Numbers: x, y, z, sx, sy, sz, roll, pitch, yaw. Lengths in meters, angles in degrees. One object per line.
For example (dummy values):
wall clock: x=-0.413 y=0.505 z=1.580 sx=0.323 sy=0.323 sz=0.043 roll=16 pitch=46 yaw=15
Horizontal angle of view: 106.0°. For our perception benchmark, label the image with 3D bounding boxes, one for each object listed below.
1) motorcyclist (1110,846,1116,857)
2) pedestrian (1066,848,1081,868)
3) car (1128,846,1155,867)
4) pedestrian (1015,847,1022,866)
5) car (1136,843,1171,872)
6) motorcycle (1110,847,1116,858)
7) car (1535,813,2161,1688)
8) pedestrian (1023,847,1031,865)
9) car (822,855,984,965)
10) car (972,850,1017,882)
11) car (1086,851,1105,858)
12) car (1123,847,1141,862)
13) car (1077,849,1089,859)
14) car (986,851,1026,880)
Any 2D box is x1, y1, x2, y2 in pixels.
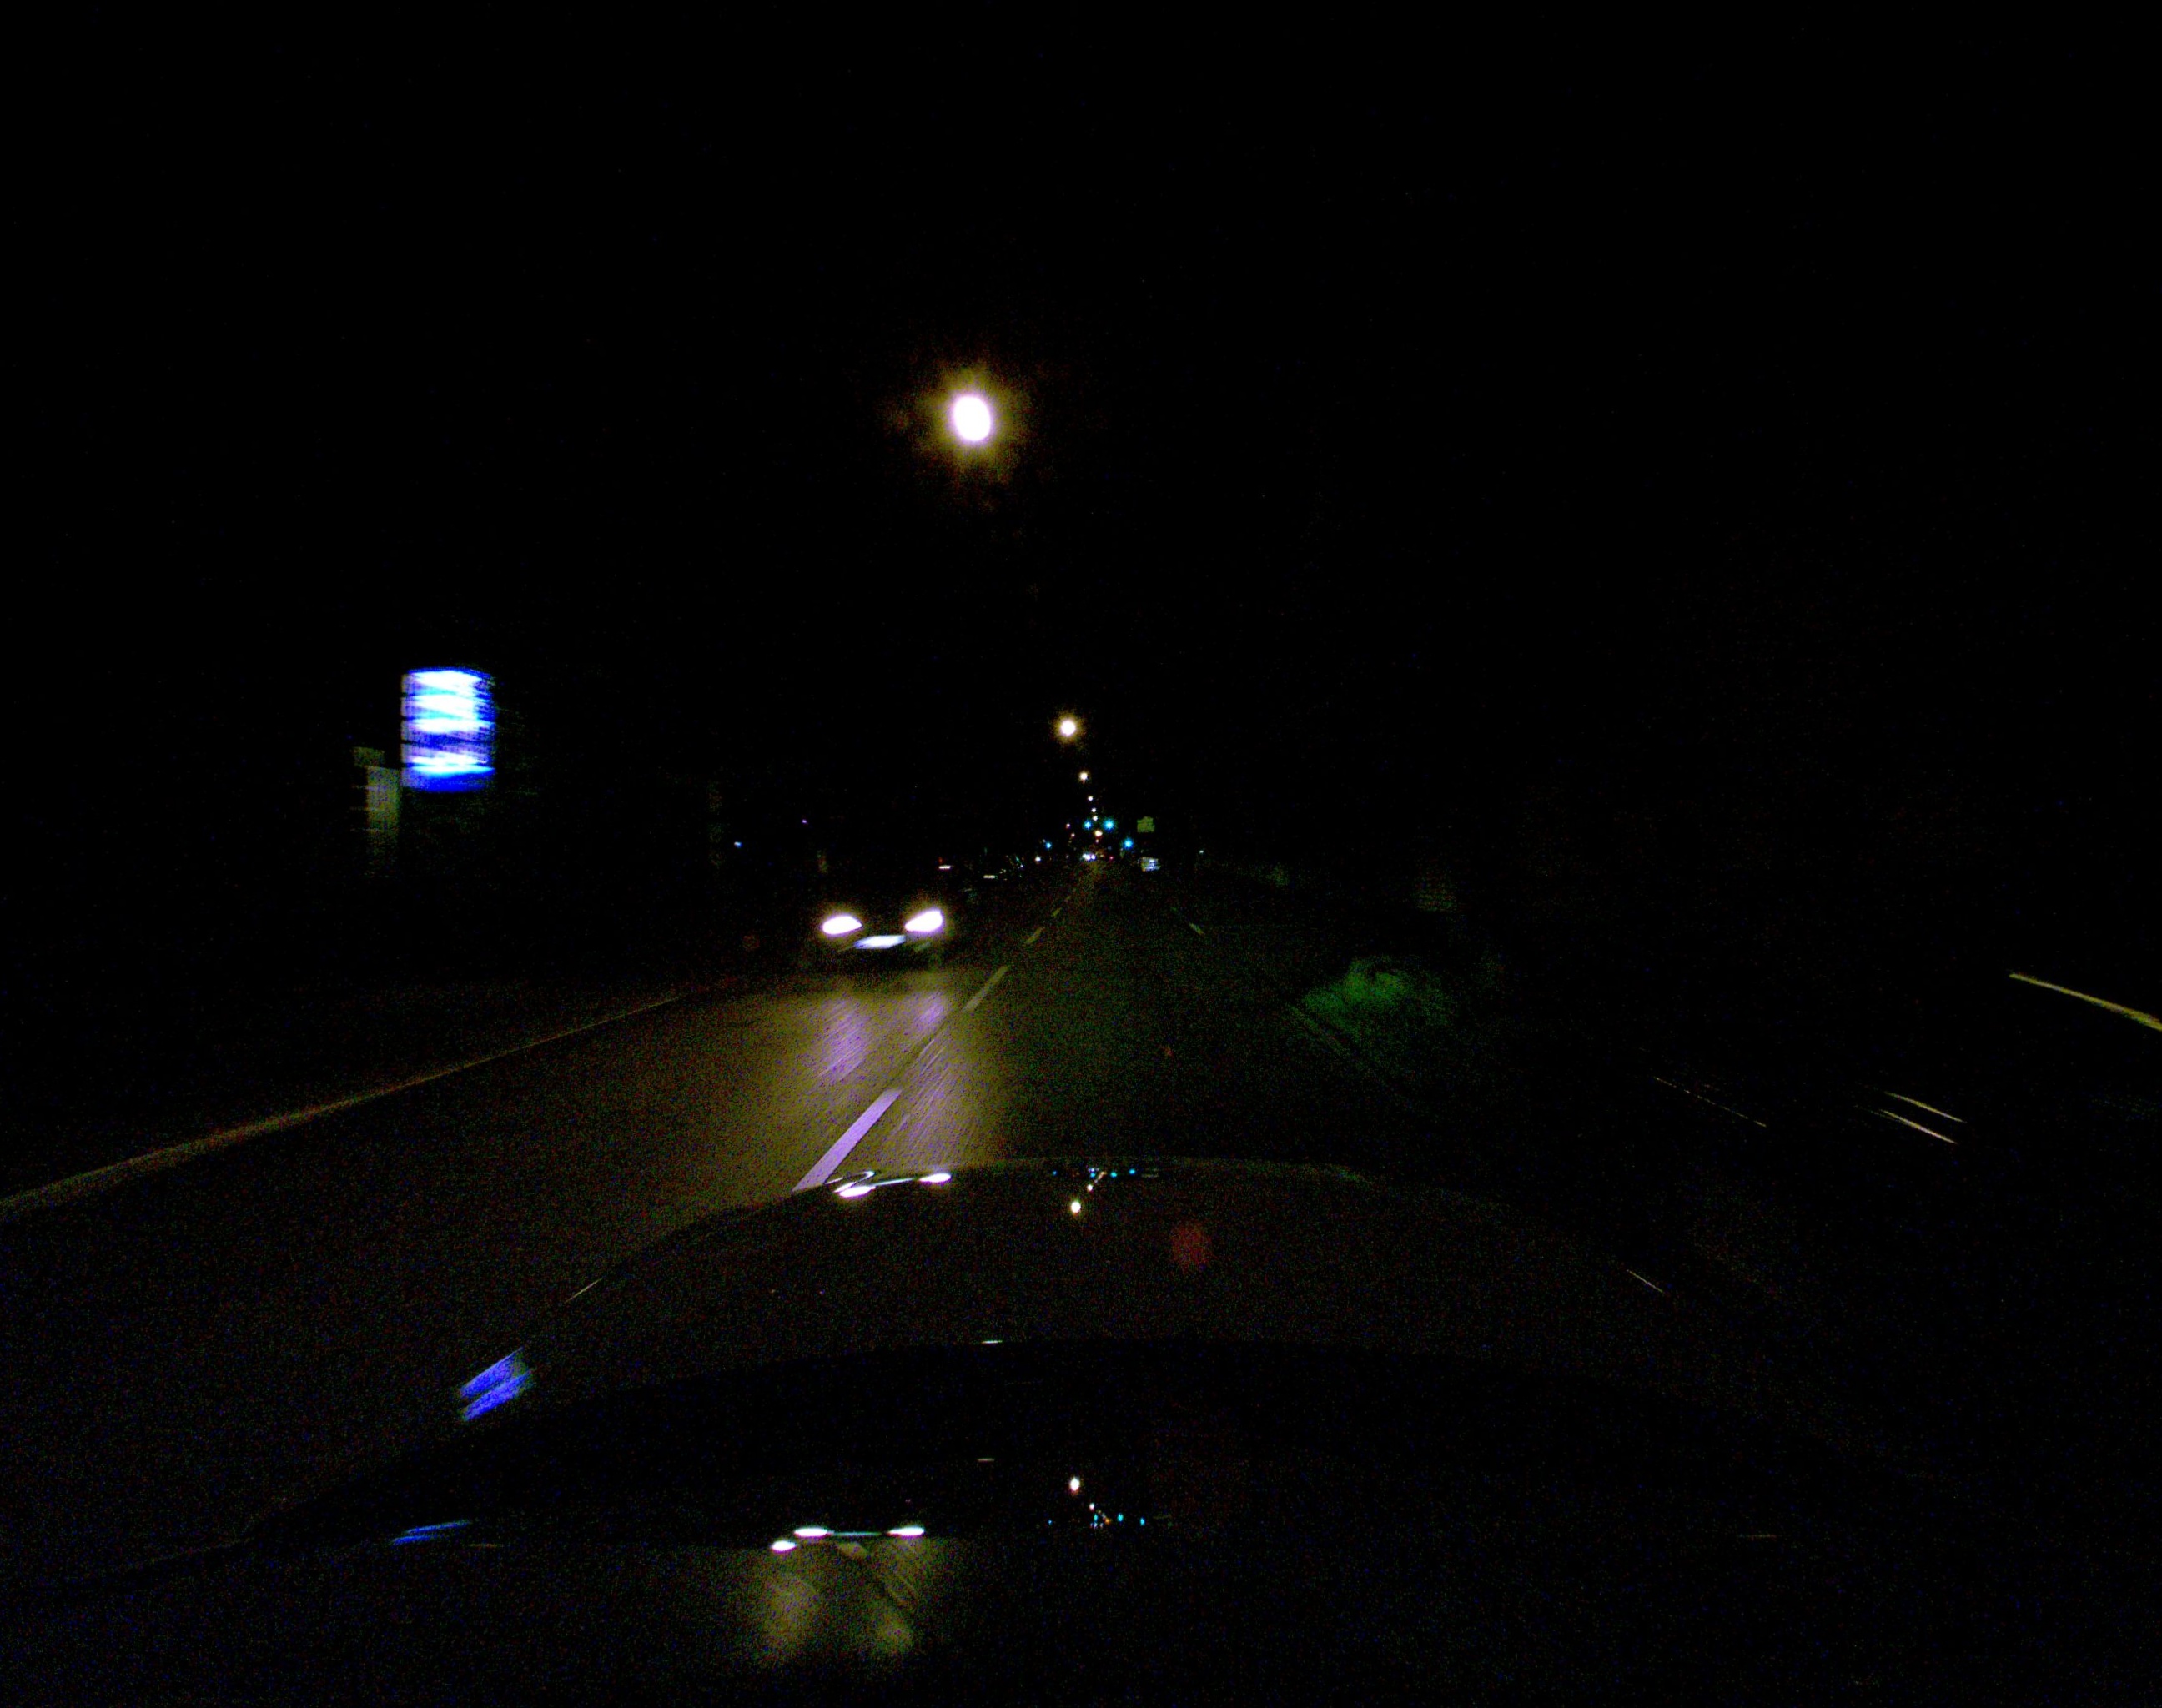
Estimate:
motorcyclist: x=4.827 y=-0.375 z=124.063 sx=0.845 sy=1.752 sz=0.806 roll=0 pitch=-1 yaw=1
pedestrian: x=-0.653 y=0.367 z=70.324 sx=0.757 sy=1.699 sz=0.932 roll=2 pitch=0 yaw=39
car: x=4.636 y=0.161 z=63.157 sx=1.862 sy=1.526 sz=4.151 roll=-3 pitch=0 yaw=2
pedestrian: x=-5.868 y=0.243 z=76.432 sx=0.569 sy=1.700 sz=0.927 roll=0 pitch=-1 yaw=-8
car: x=4.385 y=0.178 z=49.807 sx=1.805 sy=1.594 sz=4.275 roll=-3 pitch=0 yaw=2
motorcycle: x=4.831 y=-0.210 z=124.079 sx=0.927 sy=1.752 sz=2.626 roll=0 pitch=-1 yaw=2
car: x=2.698 y=0.656 z=1.281 sx=1.756 sy=1.476 sz=4.082 roll=-3 pitch=0 yaw=2
pedestrian: x=-5.034 y=0.193 z=76.498 sx=0.717 sy=1.765 sz=0.602 roll=0 pitch=-1 yaw=-7
car: x=-2.671 y=0.770 z=13.094 sx=1.640 sy=1.422 sz=3.871 roll=-2 pitch=0 yaw=1
car: x=-4.158 y=0.549 z=39.773 sx=1.715 sy=1.437 sz=4.191 roll=0 pitch=0 yaw=1
car: x=2.928 y=0.137 z=165.980 sx=1.699 sy=1.457 sz=3.946 roll=-1 pitch=-1 yaw=41
car: x=5.179 y=0.063 z=82.500 sx=1.624 sy=1.496 sz=3.414 roll=0 pitch=0 yaw=0
car: x=0.328 y=0.052 z=141.297 sx=1.937 sy=1.717 sz=4.001 roll=0 pitch=-1 yaw=2
car: x=-4.116 y=0.597 z=45.179 sx=1.715 sy=1.437 sz=4.810 roll=-2 pitch=0 yaw=0
